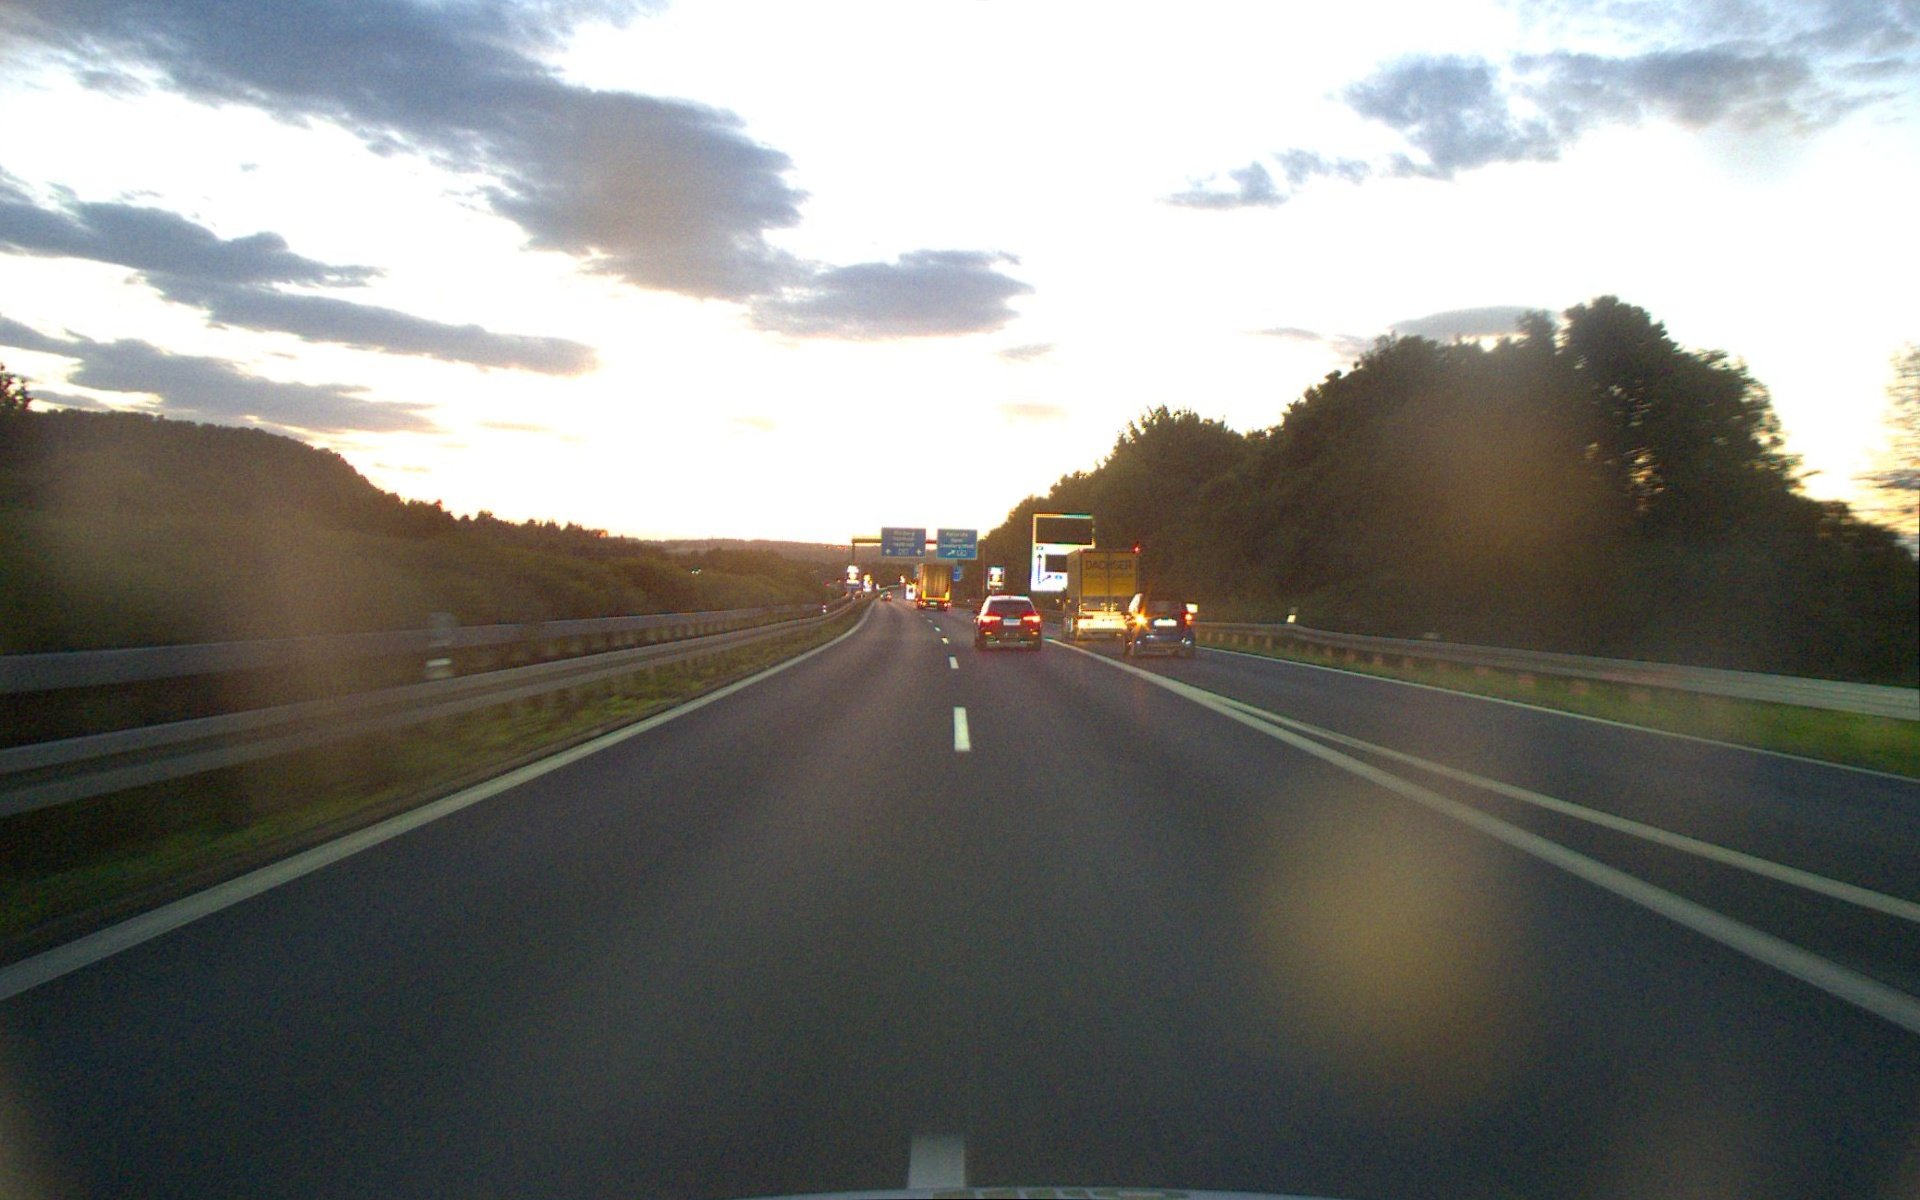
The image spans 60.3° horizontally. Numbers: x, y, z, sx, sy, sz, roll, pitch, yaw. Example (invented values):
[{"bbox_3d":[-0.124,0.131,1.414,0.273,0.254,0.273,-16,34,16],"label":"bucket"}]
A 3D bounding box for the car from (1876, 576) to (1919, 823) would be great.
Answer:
[{"bbox_3d":[7.542,0.749,9.129,1.763,1.673,5.156,5,0,-4],"label":"car"}]

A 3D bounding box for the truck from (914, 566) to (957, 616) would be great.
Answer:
[{"bbox_3d":[-2.306,-0.758,152.115,3.440,4.376,9.884,1,0,-3],"label":"truck"}]

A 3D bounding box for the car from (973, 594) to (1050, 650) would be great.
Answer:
[{"bbox_3d":[1.397,0.596,46.426,1.876,1.467,3.998,1,0,-2],"label":"car"}]

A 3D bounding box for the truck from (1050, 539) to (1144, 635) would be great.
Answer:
[{"bbox_3d":[4.682,-0.422,57.553,2.224,3.023,6.627,3,0,-3],"label":"truck"}]

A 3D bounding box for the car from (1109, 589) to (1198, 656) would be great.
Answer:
[{"bbox_3d":[4.740,0.541,40.921,1.579,1.583,3.316,1,0,-4],"label":"car"}]
